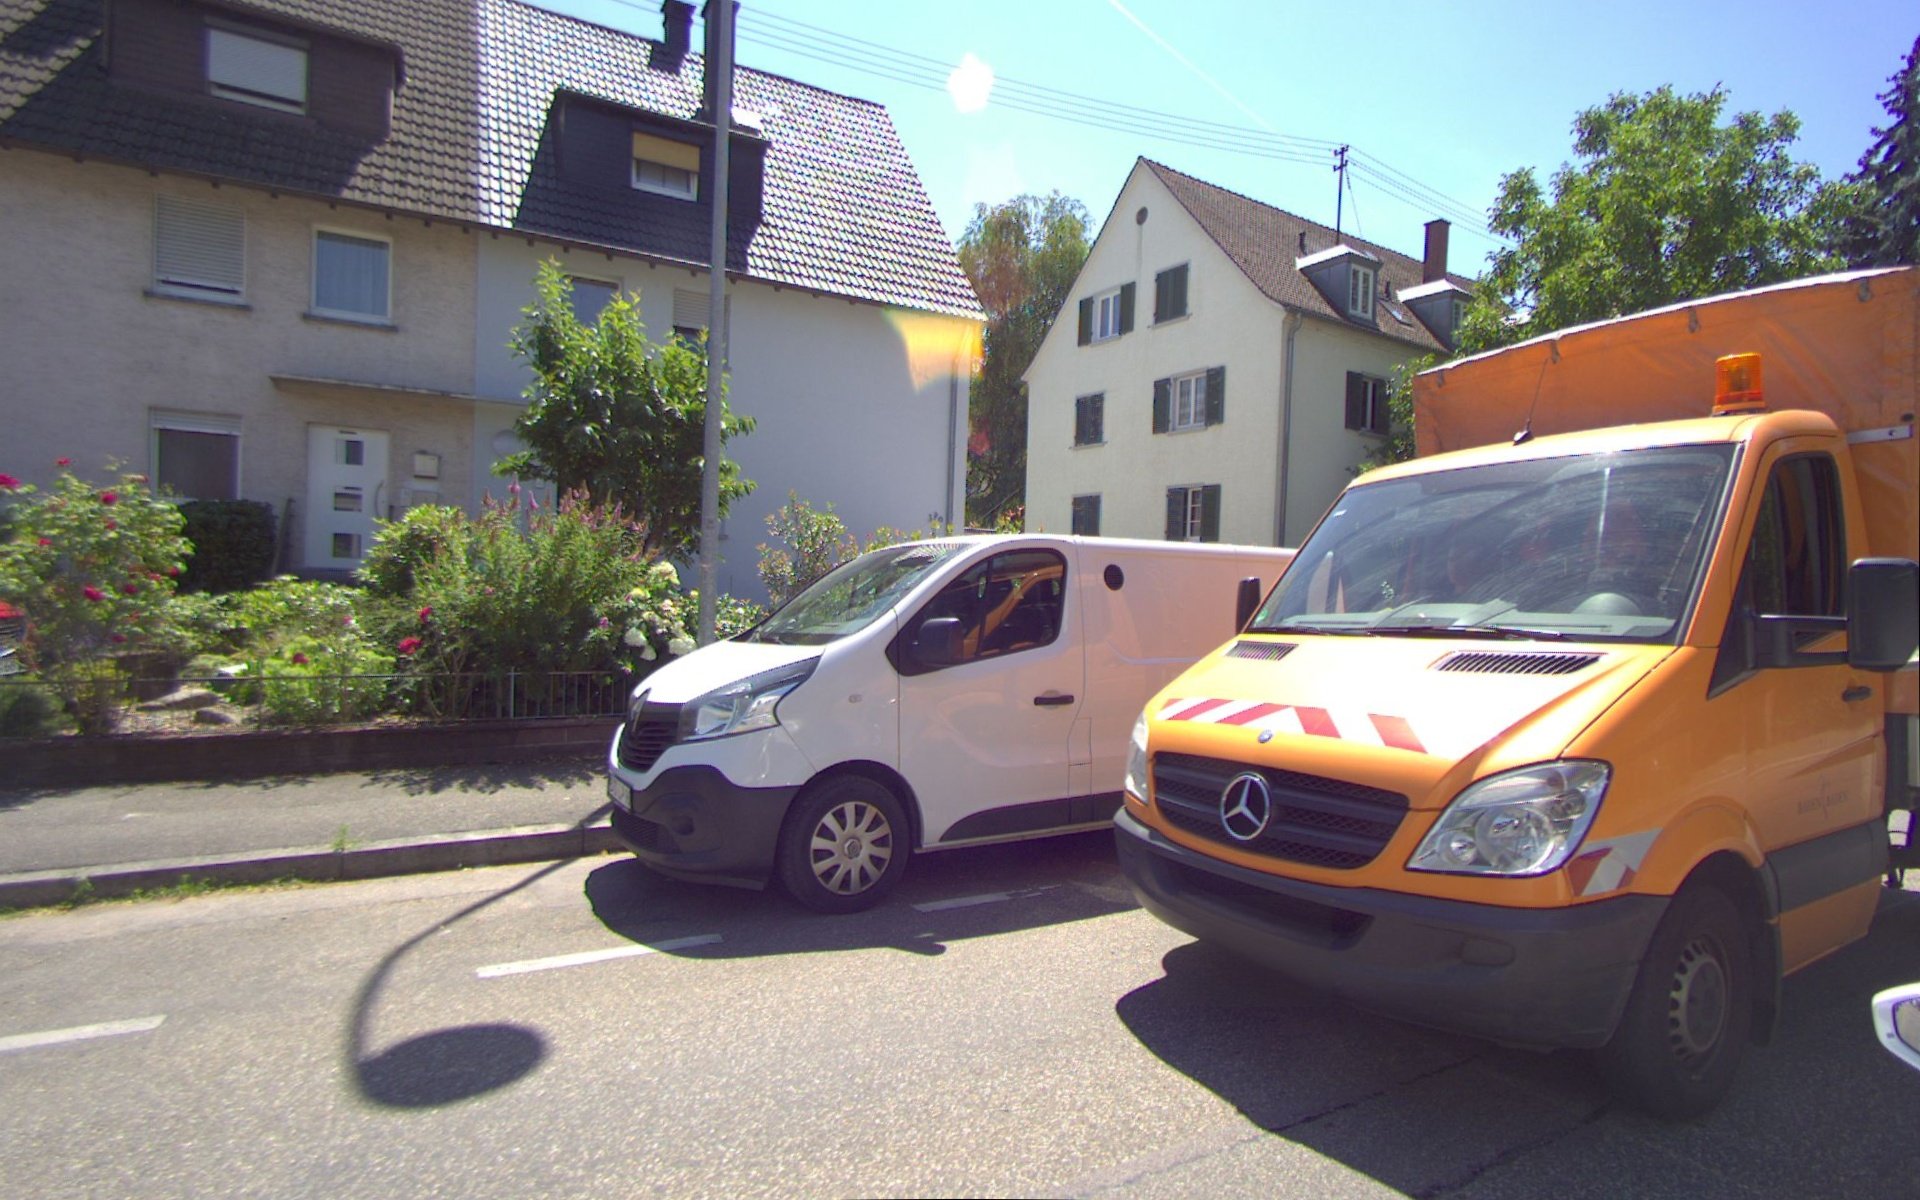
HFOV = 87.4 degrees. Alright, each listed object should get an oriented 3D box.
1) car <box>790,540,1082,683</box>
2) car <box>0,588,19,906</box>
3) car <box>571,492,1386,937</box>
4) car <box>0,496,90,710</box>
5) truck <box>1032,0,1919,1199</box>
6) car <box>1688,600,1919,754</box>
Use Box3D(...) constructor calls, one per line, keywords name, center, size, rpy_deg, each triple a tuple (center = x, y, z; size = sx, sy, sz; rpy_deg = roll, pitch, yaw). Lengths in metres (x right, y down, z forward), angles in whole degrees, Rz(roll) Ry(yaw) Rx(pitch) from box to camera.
Box3D(name="car", center=(-0.368, 0.172, 14.931), size=(3.943, 1.895, 1.711), rpy_deg=(2, 2, -23))
Box3D(name="car", center=(-5.706, 0.595, 2.786), size=(4.185, 1.402, 1.691), rpy_deg=(1, -2, -30))
Box3D(name="car", center=(0.304, 0.557, 6.387), size=(4.923, 1.906, 1.877), rpy_deg=(2, 0, -31))
Box3D(name="car", center=(-8.895, 0.038, 6.999), size=(4.033, 1.532, 1.646), rpy_deg=(0, 4, -3))
Box3D(name="truck", center=(3.323, 0.052, 4.816), size=(5.594, 2.867, 2.361), rpy_deg=(1, 0, -31))
Box3D(name="car", center=(11.693, 0.929, 13.381), size=(4.409, 1.750, 1.748), rpy_deg=(1, -1, -33))
